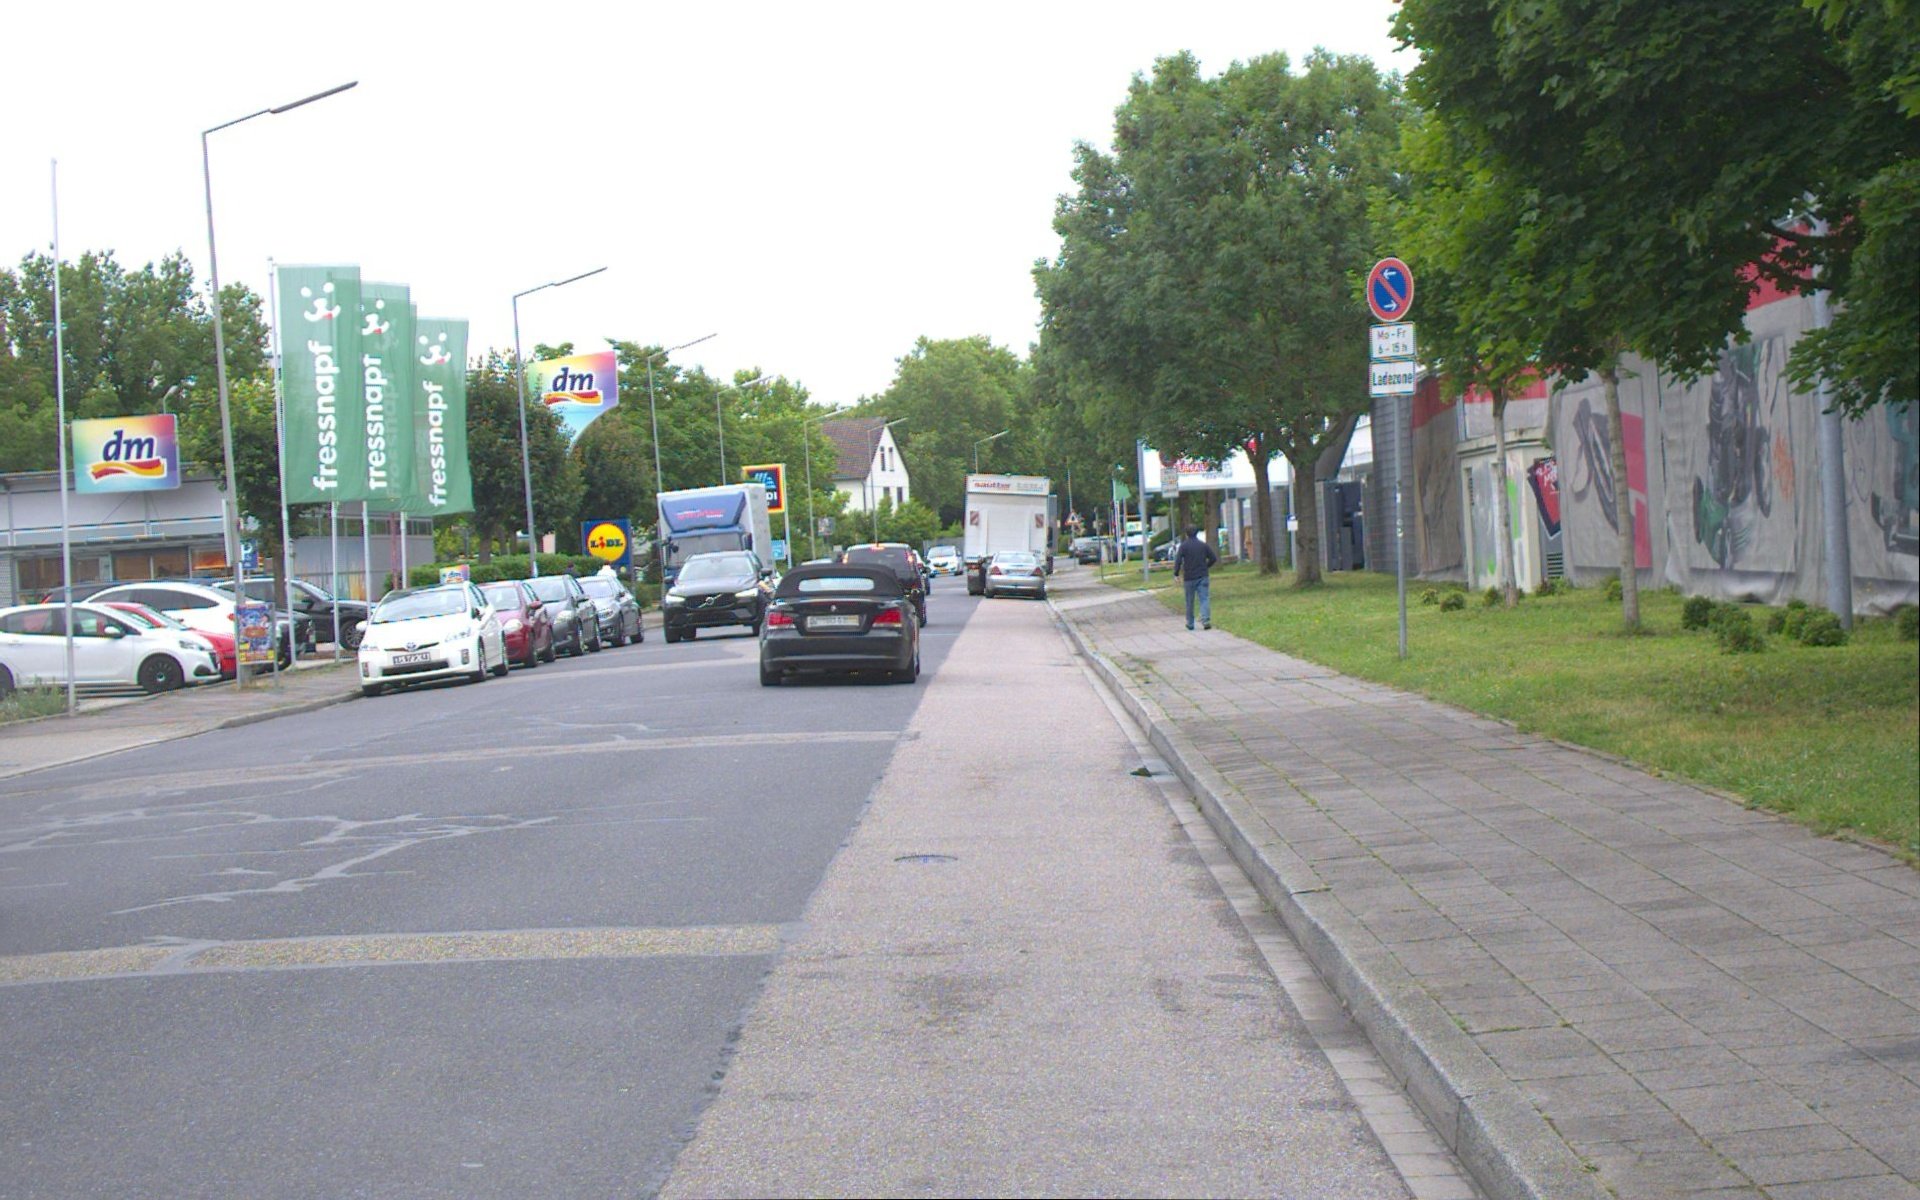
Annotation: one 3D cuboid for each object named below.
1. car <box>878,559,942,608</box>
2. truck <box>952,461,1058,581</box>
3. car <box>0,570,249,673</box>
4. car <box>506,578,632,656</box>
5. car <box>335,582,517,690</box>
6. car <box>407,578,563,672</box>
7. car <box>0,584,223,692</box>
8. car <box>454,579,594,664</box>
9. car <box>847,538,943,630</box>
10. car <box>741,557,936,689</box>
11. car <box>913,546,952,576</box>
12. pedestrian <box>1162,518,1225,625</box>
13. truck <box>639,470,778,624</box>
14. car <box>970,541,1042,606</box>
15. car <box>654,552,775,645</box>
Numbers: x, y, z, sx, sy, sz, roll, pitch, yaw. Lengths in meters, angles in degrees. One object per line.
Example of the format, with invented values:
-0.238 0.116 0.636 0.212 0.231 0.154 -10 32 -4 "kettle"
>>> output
-1.608 -0.551 112.481 1.886 1.526 4.254 -1 1 2 "car"
1.360 -2.453 110.410 3.135 3.572 10.051 -2 0 0 "truck"
-14.227 0.355 57.902 4.135 1.458 1.899 -3 1 -4 "car"
-7.758 0.325 68.525 1.898 1.362 4.000 -3 1 1 "car"
-7.802 0.498 50.546 1.898 1.362 4.000 -3 1 1 "car"
-7.851 0.395 57.153 1.898 1.362 4.000 -3 1 1 "car"
-13.614 0.599 52.899 4.202 1.458 1.953 -3 1 -6 "car"
-7.907 0.364 62.649 1.898 1.362 4.000 -3 1 1 "car"
-1.277 -0.324 66.293 1.681 1.626 3.759 -3 1 -2 "car"
-1.343 0.227 39.561 1.746 1.354 4.137 -3 0 4 "car"
-1.457 -2.094 181.921 1.886 1.526 4.254 -1 1 2 "car"
3.637 -0.439 53.629 0.919 1.629 0.852 -2 0 3 "pedestrian"
-6.987 -1.493 96.434 2.974 3.942 6.404 -5 1 2 "truck"
1.336 -0.782 101.134 1.993 1.800 4.000 -2 0 0 "car"
-4.679 -0.034 66.027 1.993 1.678 4.000 -2 0 0 "car"
